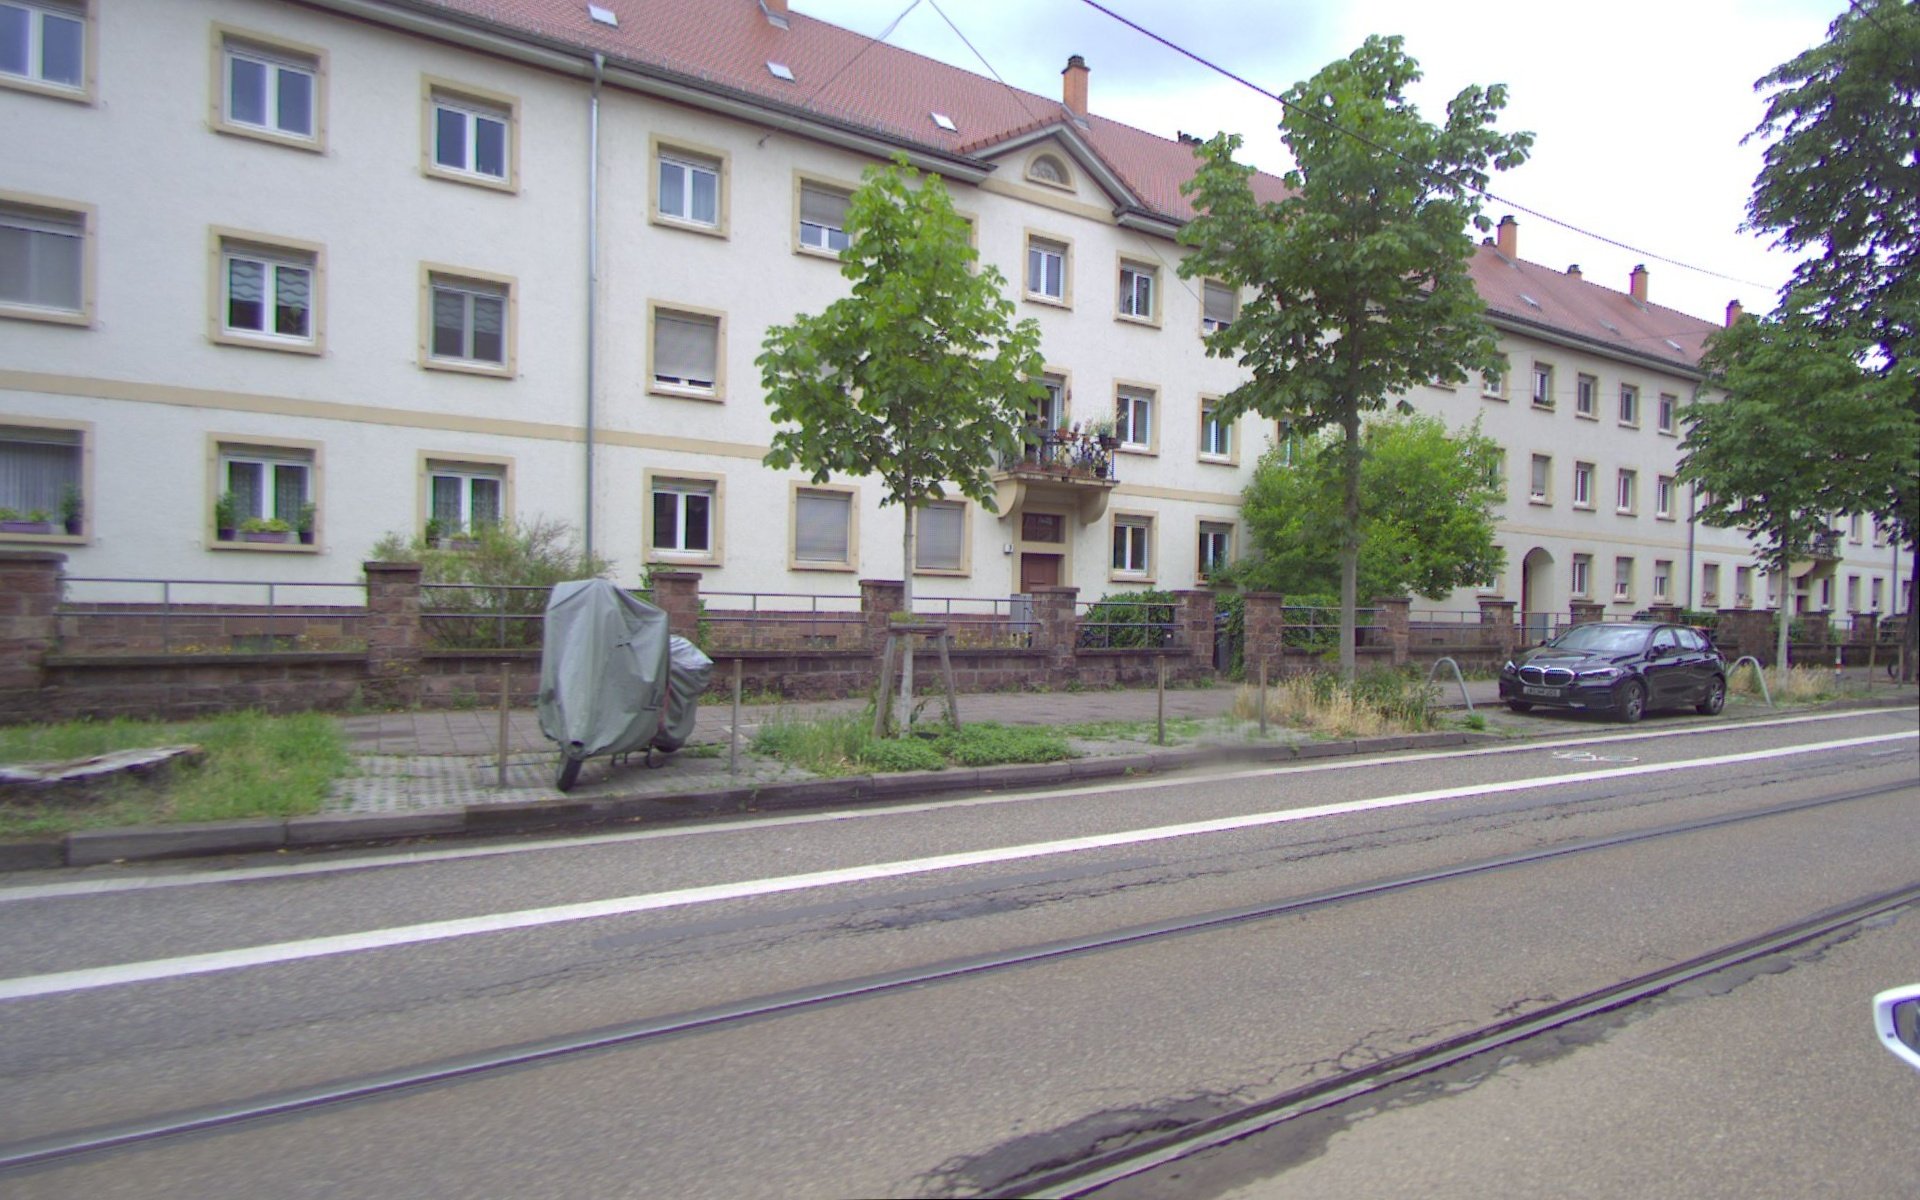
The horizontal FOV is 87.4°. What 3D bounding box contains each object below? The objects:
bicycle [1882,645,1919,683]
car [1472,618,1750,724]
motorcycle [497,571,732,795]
[{"bbox_3d":[22.917,1.530,23.579,0.676,0.855,1.741,1,0,-29],"label":"bicycle"},{"bbox_3d":[10.339,1.044,15.897,4.364,1.417,1.881,1,0,-30],"label":"car"},{"bbox_3d":[-2.701,0.587,8.229,0.908,1.531,2.273,3,0,5],"label":"motorcycle"}]
